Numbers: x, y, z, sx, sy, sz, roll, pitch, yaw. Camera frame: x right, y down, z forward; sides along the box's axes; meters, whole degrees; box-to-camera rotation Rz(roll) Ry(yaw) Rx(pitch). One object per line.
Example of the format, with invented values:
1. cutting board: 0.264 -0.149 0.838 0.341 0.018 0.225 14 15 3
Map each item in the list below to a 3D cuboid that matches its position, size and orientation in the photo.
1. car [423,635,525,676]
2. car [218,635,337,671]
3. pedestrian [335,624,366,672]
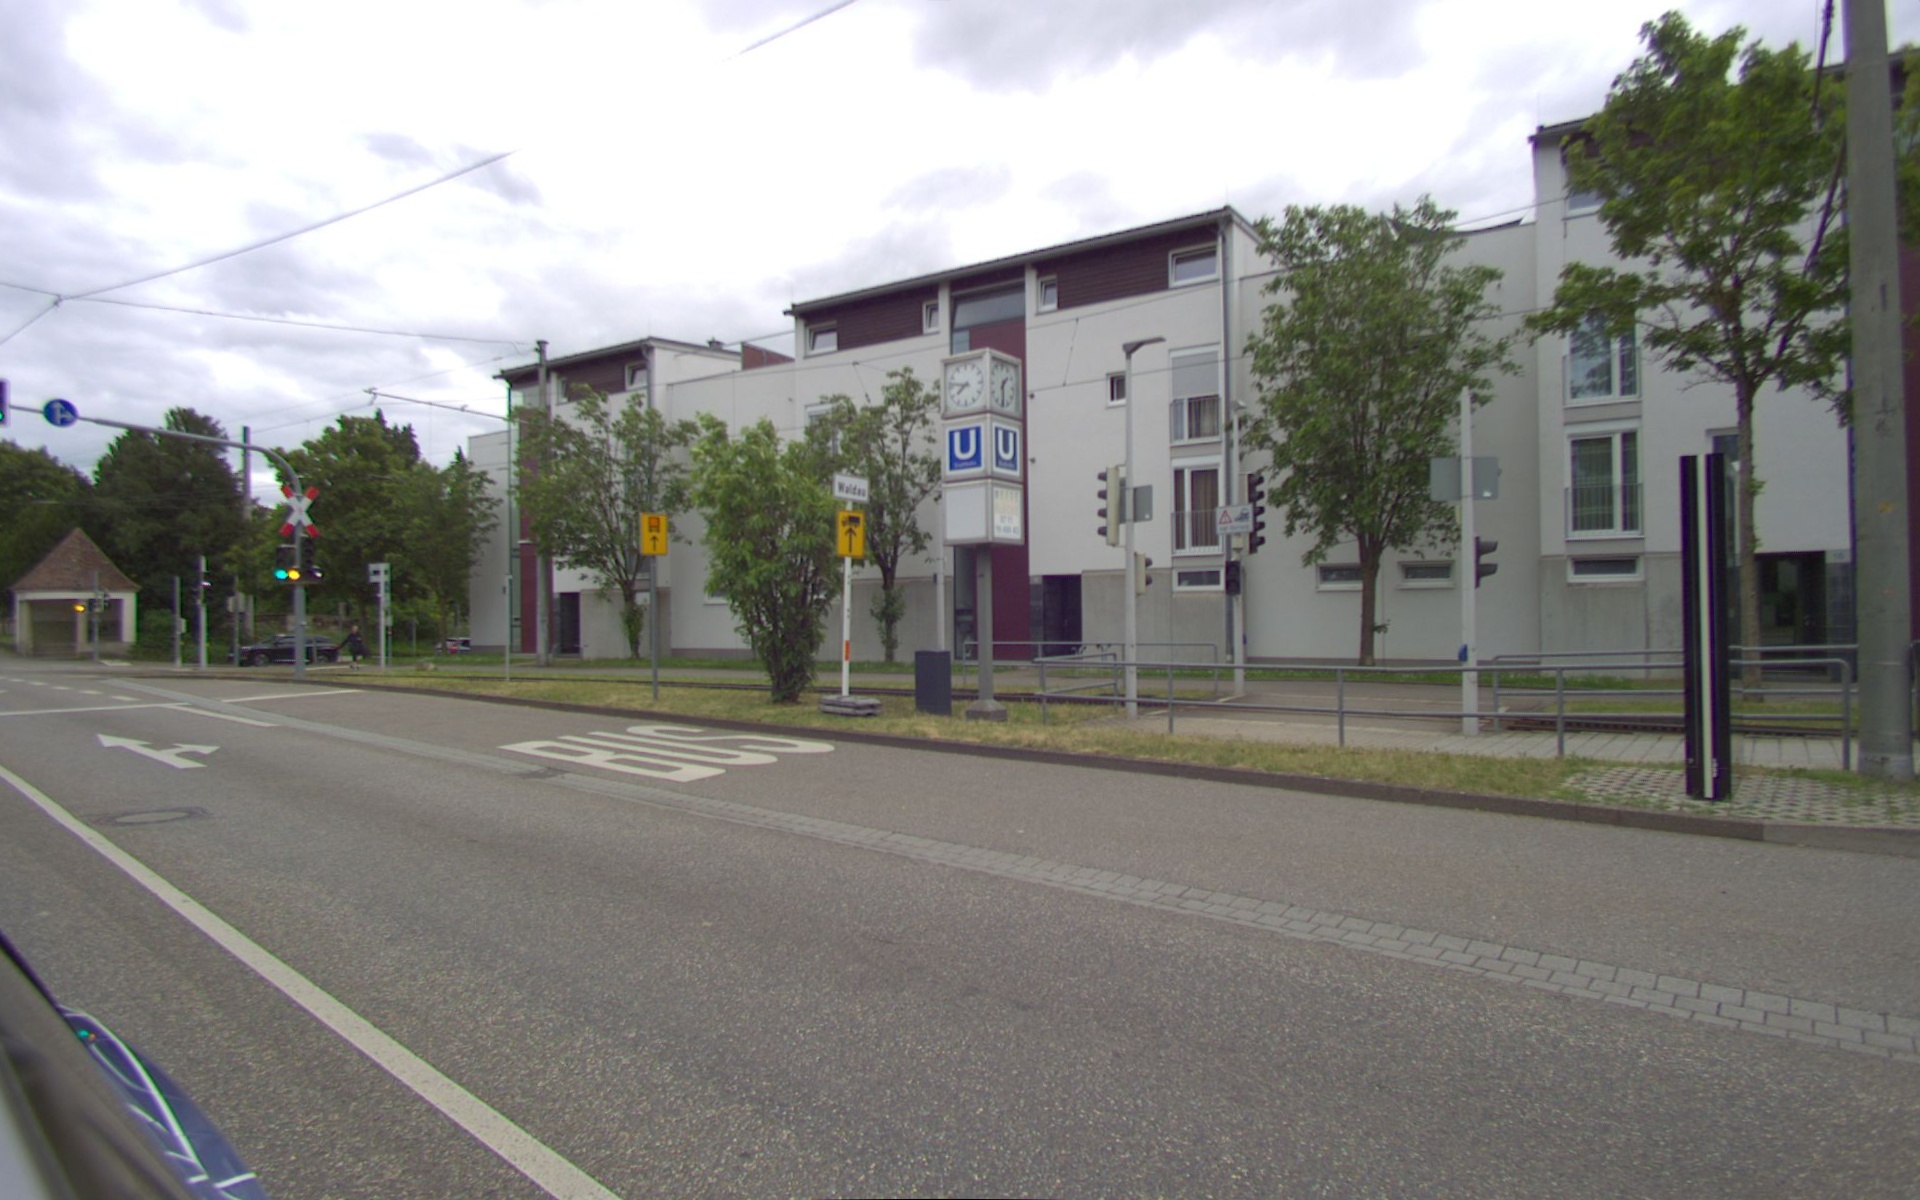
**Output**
1. car: -25.659 2.949 53.581 1.994 2.029 4.418 -1 -5 33
2. car: -33.860 2.651 50.330 1.960 1.682 4.438 -1 -4 33
3. pedestrian: -21.663 1.711 35.971 0.817 1.657 0.669 -4 -4 35
